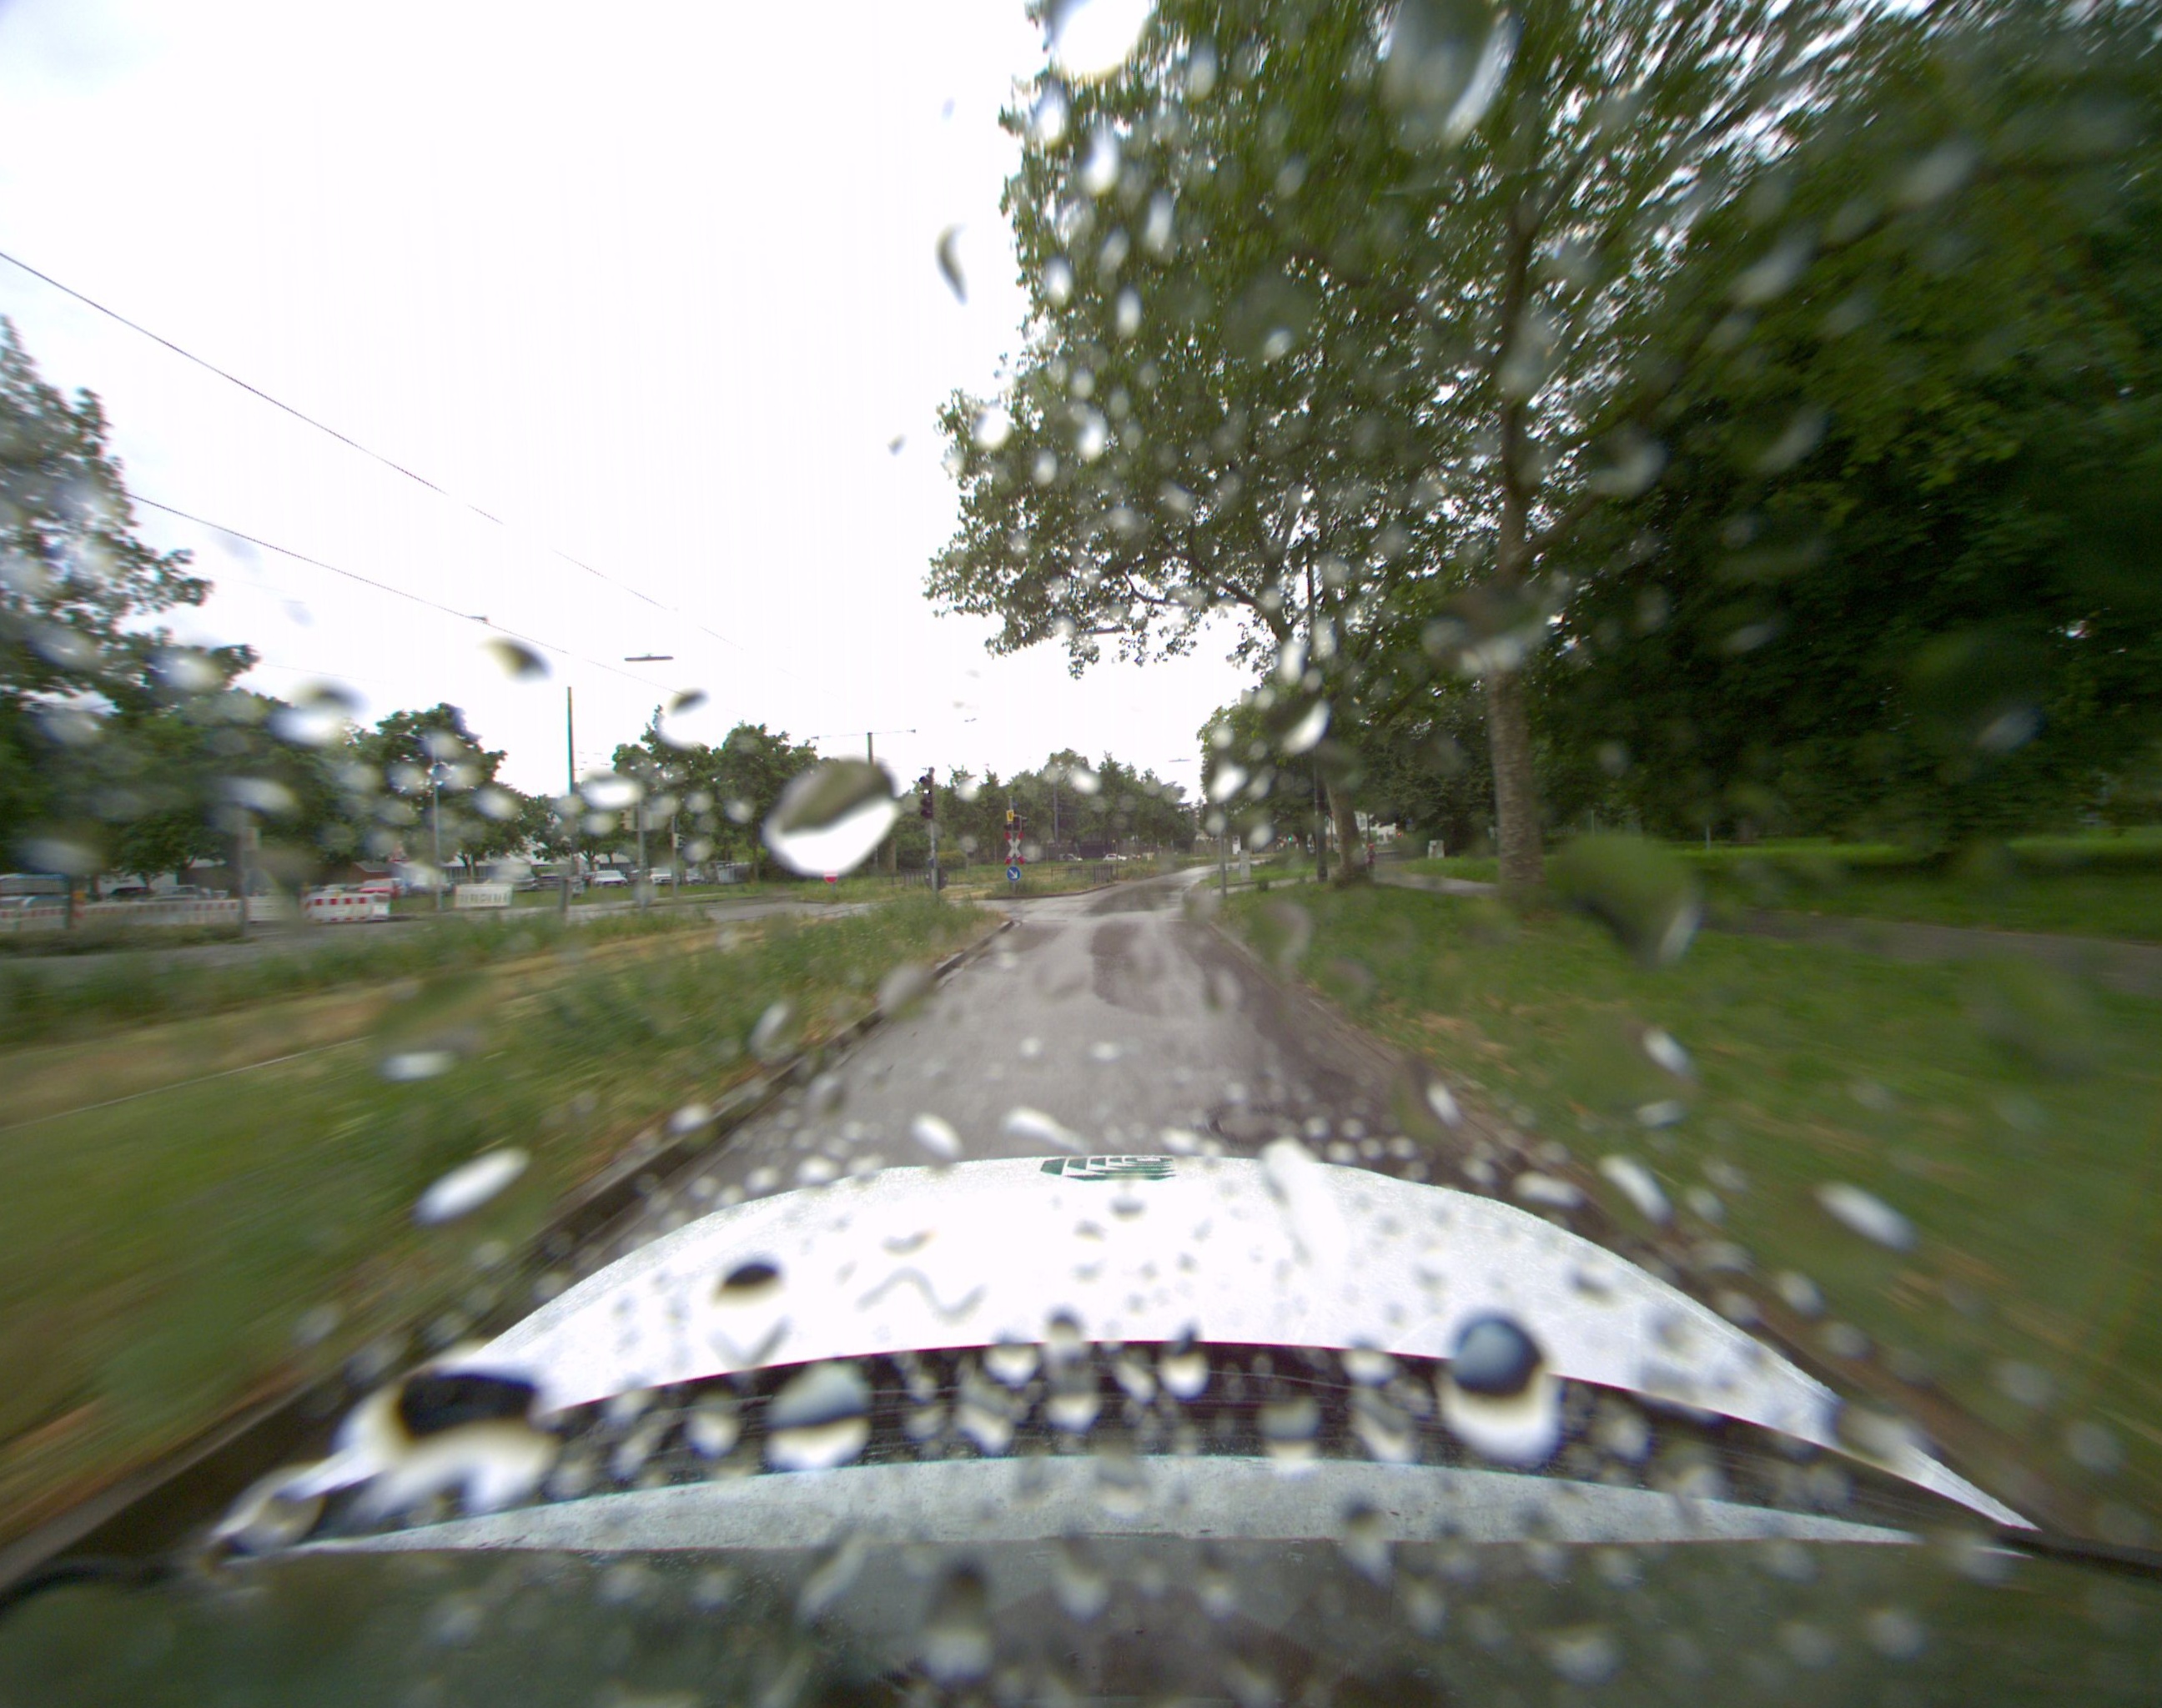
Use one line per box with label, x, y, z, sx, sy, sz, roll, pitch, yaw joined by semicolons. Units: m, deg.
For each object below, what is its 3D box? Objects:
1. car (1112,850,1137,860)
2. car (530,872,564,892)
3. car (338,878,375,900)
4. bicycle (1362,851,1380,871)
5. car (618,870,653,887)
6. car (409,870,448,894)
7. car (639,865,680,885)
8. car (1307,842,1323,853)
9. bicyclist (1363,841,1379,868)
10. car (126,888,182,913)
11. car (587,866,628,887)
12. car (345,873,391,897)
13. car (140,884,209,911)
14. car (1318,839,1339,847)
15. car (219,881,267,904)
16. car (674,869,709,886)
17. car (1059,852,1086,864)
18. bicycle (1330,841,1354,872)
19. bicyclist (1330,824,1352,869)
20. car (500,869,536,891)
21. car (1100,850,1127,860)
car;7.328;0.123;137.351;3.787;1.499;1.660;-3;-1;18
car;-39.958;2.100;60.892;1.674;1.325;3.698;-3;0;-40
car;-48.319;2.330;54.357;1.674;1.325;3.698;-3;0;-40
bicycle;11.453;0.271;32.206;0.483;0.708;1.463;-3;0;13
car;-35.161;1.949;64.286;1.674;1.249;3.698;-3;0;-40
car;-38.208;1.642;47.734;1.673;1.249;3.700;-3;0;-37
car;-28.746;1.430;55.543;1.674;1.249;3.698;-3;0;-40
car;33.271;-0.903;115.878;1.673;1.420;3.826;-3;0;10
bicyclist;11.424;0.022;32.083;0.483;1.038;0.593;-3;0;13
car;-55.598;2.746;48.901;1.674;1.325;3.698;-3;0;-40
car;-30.902;1.453;53.149;1.674;1.249;3.698;-3;0;-40
car;-40.406;1.760;46.238;1.673;1.249;3.700;-3;0;-37
car;-46.596;2.196;41.930;1.673;1.249;3.700;-3;0;-37
car;50.299;-2.198;165.620;3.713;1.442;1.774;-3;0;33
car;-52.922;2.421;51.484;1.674;1.325;3.698;-3;0;-40
car;-32.259;1.949;67.440;1.674;1.249;3.698;-3;0;-40
car;-1.379;0.697;136.629;4.175;1.796;1.660;-2;1;19
bicycle;10.401;0.099;32.474;0.706;1.142;1.979;-3;1;14
bicyclist;10.381;-0.300;32.502;0.706;1.721;0.961;-3;1;13
car;-35.321;1.618;51.065;1.673;1.249;3.700;-3;0;-37
car;5.303;0.204;134.132;4.033;1.499;1.660;-3;-1;18
